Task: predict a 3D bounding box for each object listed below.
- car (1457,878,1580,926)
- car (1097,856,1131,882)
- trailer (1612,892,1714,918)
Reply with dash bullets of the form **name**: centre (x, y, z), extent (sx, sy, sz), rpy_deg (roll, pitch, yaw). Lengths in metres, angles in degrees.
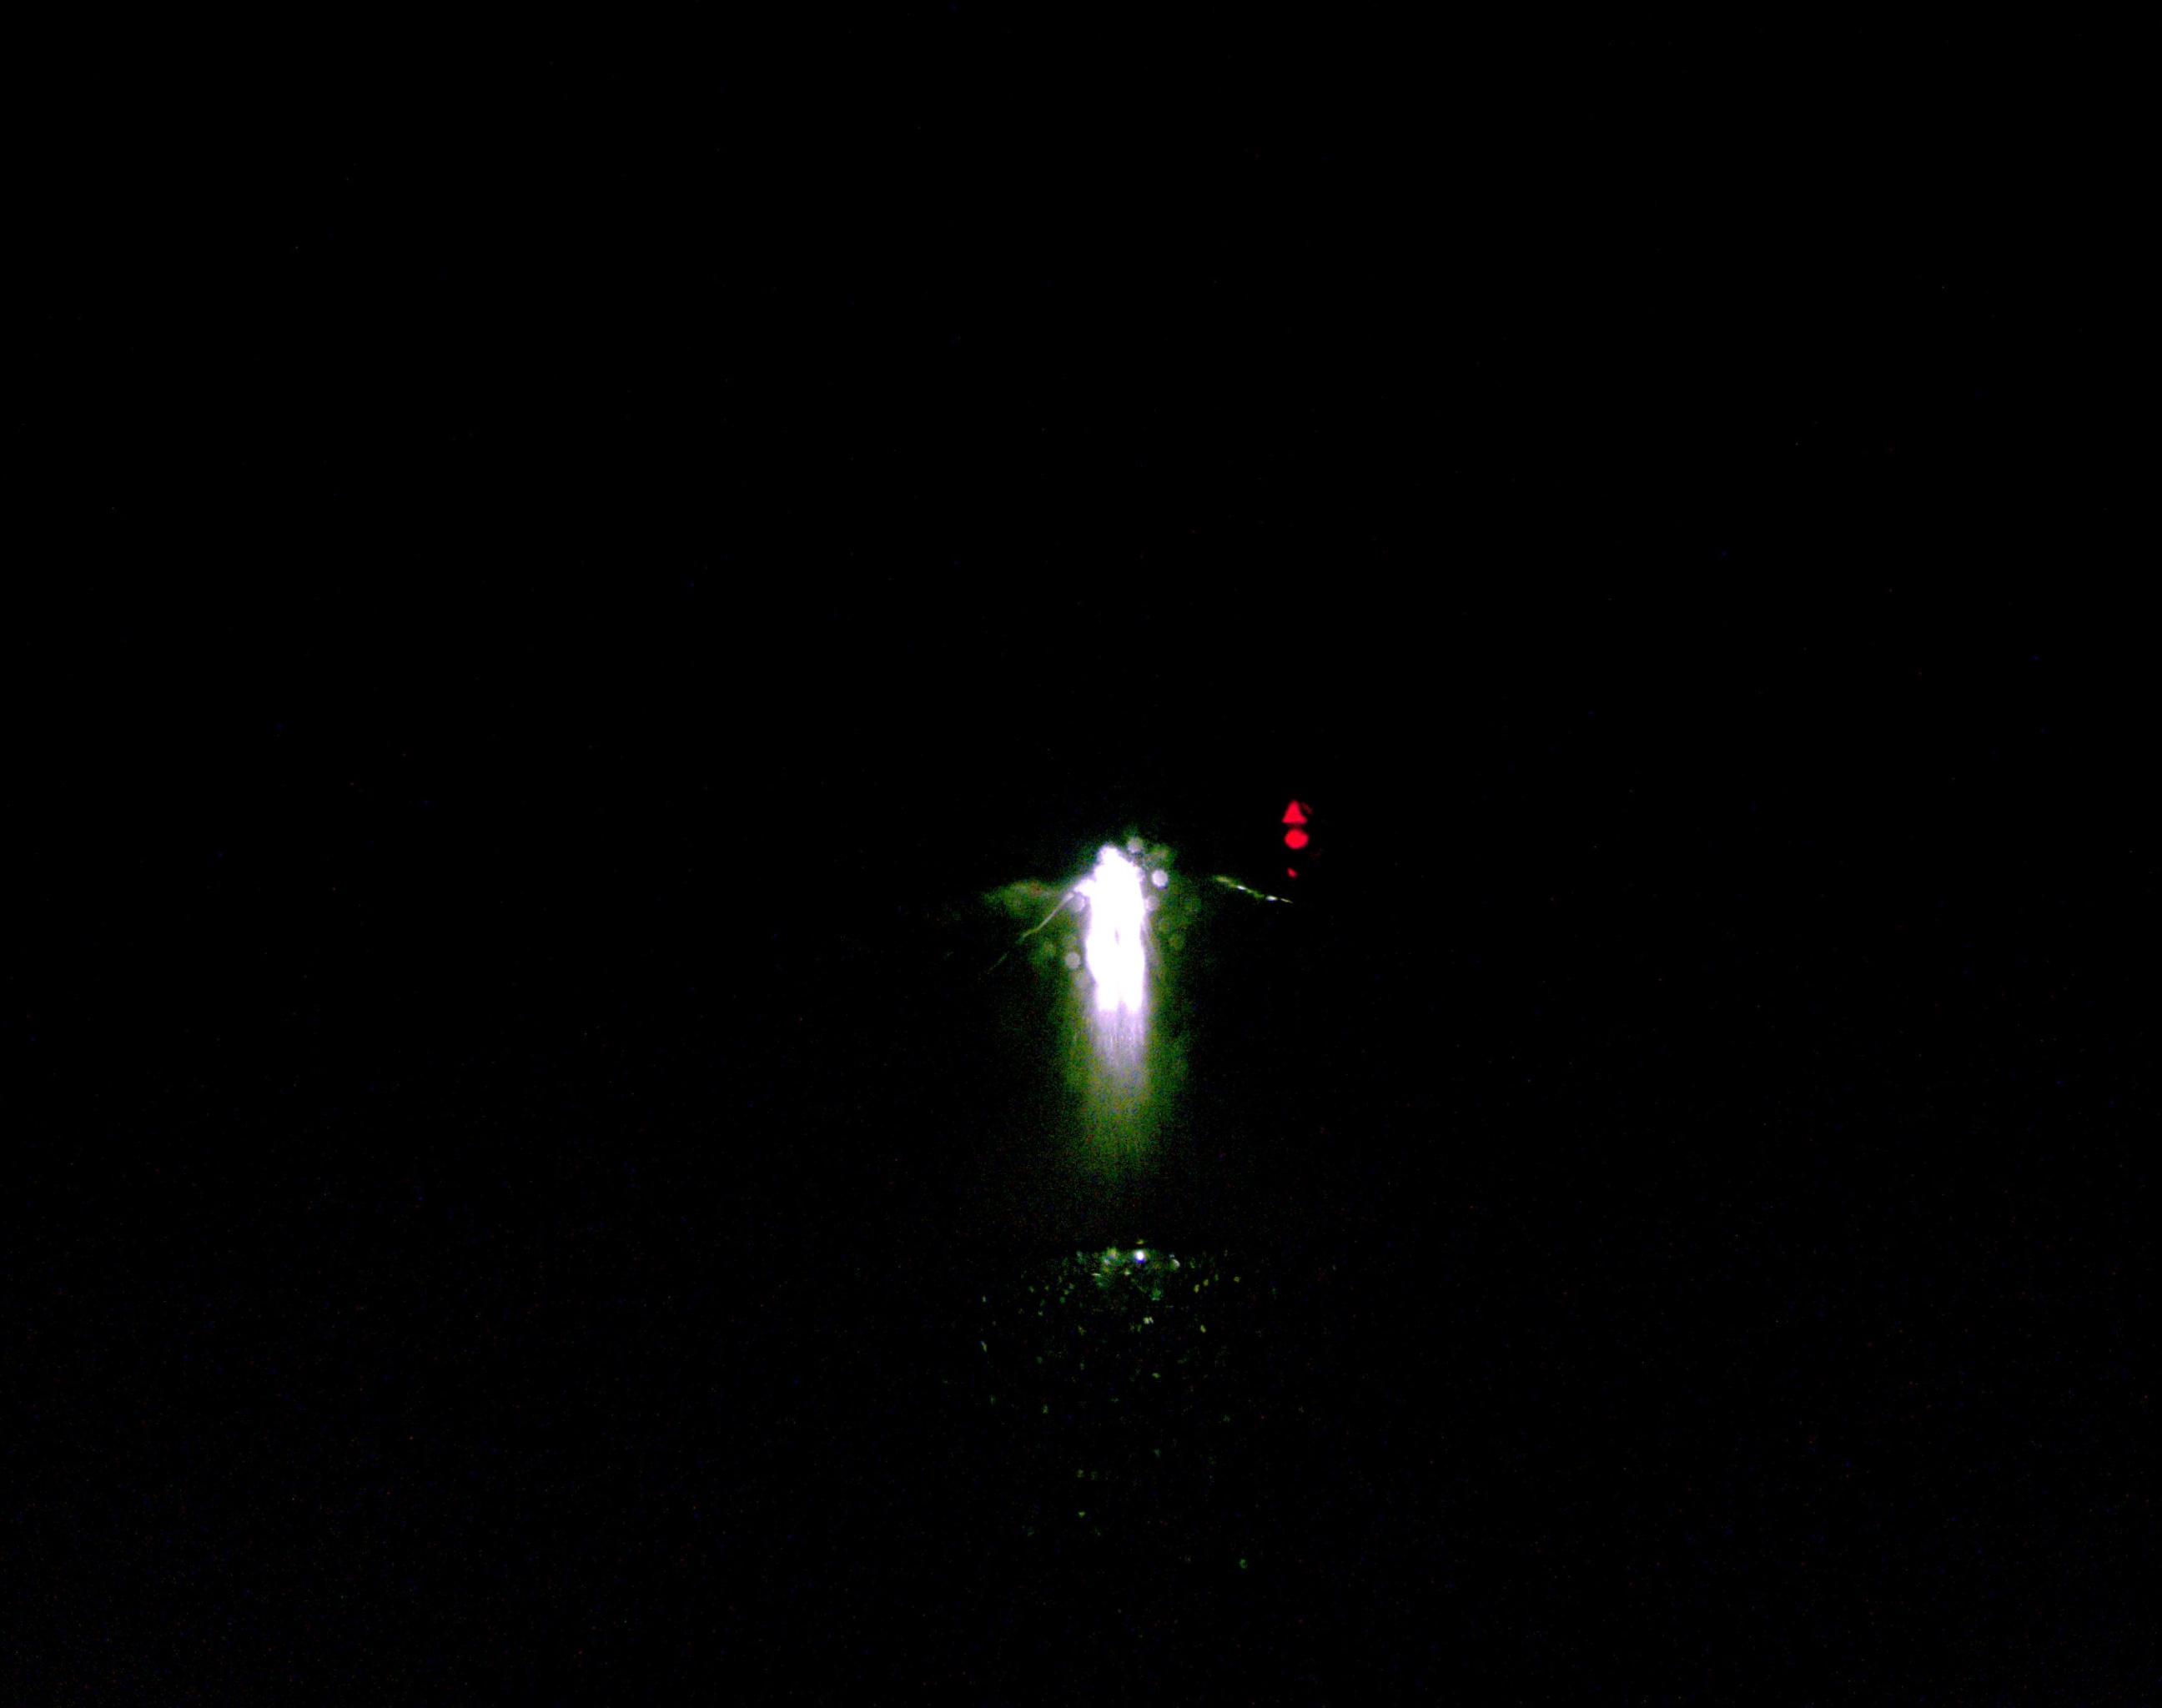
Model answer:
- **car**: centre (17.911, 1.938, 31.320), extent (1.978, 1.819, 3.994), rpy_deg (0, -2, -22)
- **car**: centre (2.122, 0.906, 48.267), extent (1.998, 1.412, 4.000), rpy_deg (-4, 1, 3)
- **trailer**: centre (25.882, 2.273, 33.943), extent (1.772, 1.071, 3.378), rpy_deg (-1, -3, -6)
